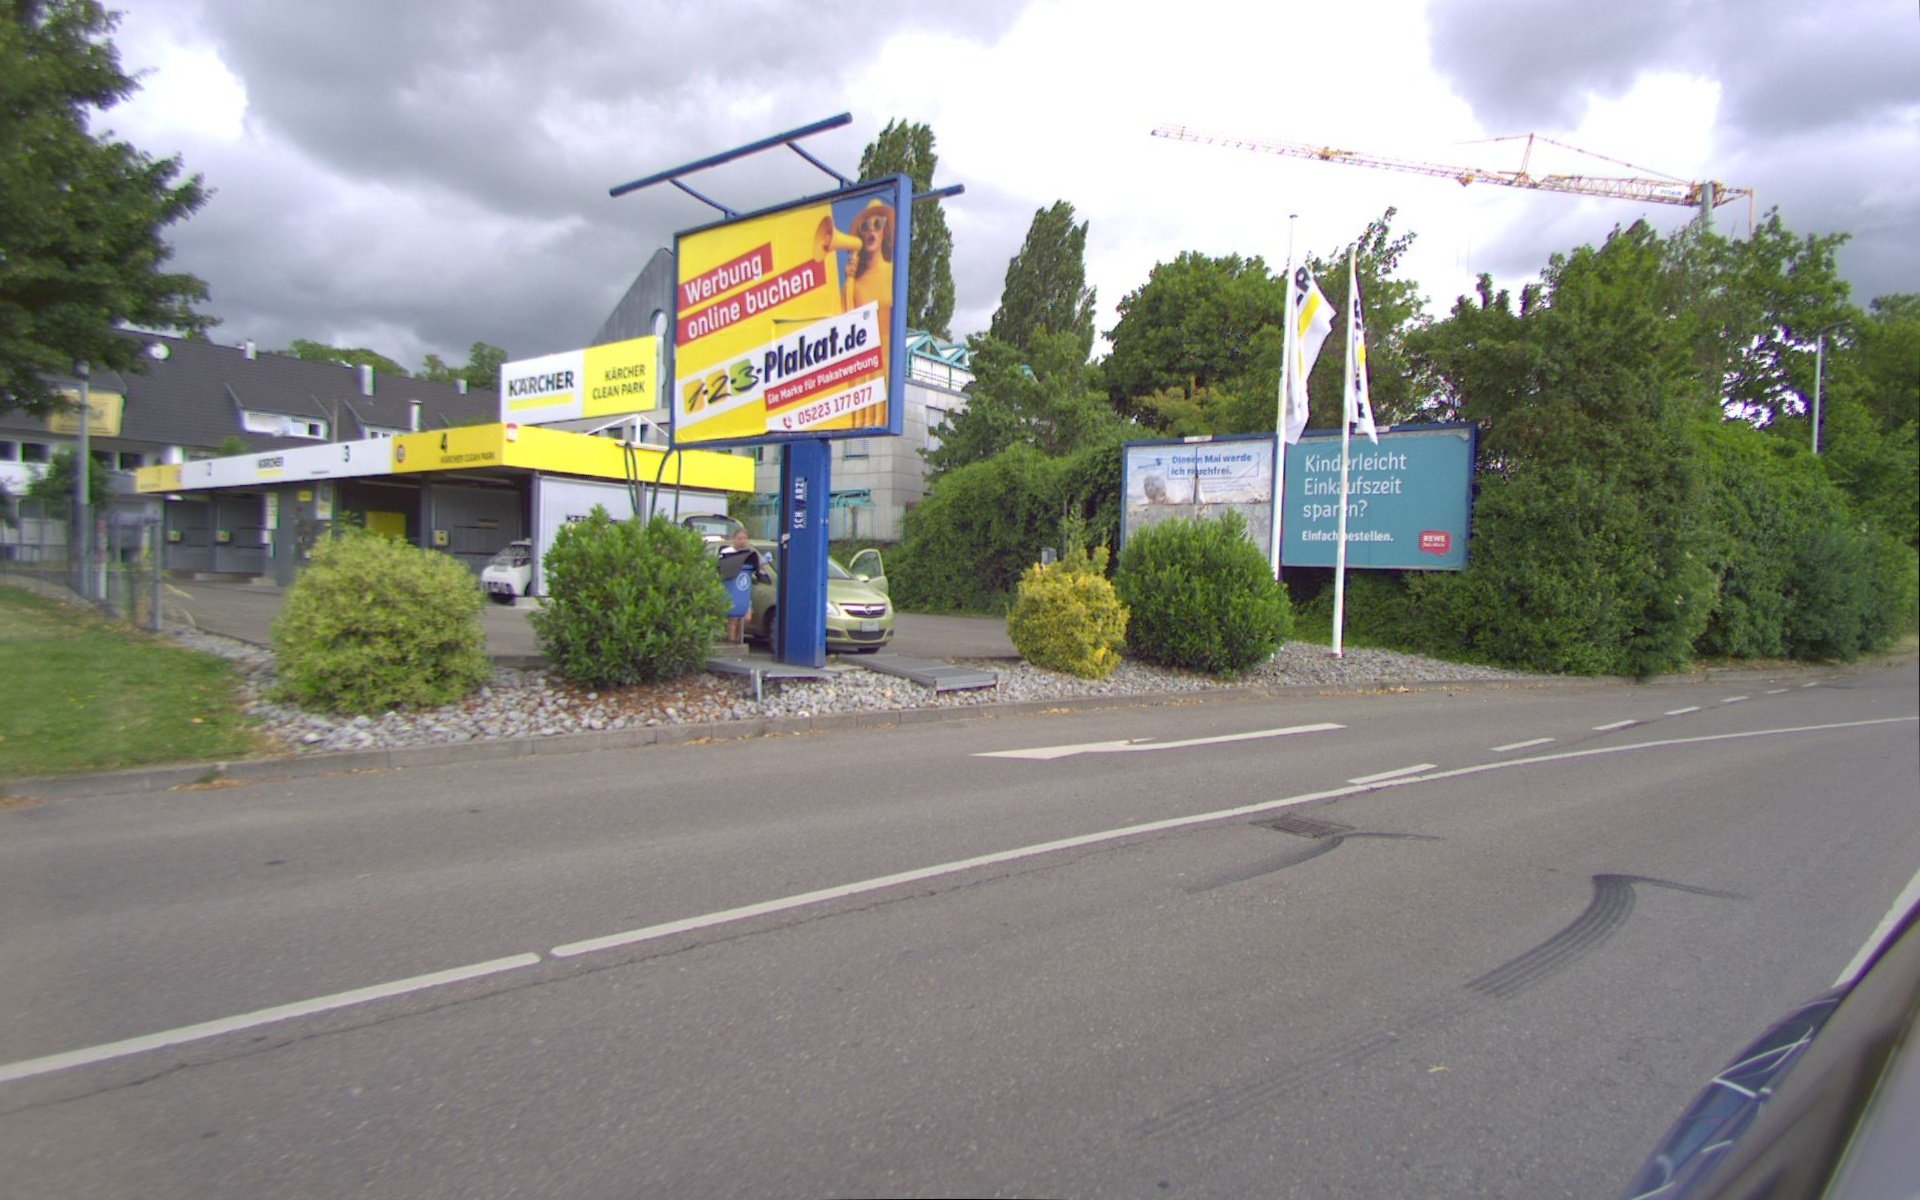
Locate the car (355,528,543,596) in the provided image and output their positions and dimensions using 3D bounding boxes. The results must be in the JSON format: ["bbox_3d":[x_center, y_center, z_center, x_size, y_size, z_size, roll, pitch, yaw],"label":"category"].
[{"bbox_3d":[-12.980,-0.934,25.892,1.828,1.593,3.880,3,2,36],"label":"car"}]

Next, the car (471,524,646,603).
[{"bbox_3d":[-9.220,-0.827,23.444,1.620,1.660,3.489,3,2,33],"label":"car"}]

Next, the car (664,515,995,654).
[{"bbox_3d":[-1.957,-0.275,14.637,4.019,1.676,2.898,4,2,45],"label":"car"}]

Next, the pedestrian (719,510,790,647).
[{"bbox_3d":[-2.620,-0.276,12.906,0.630,1.691,0.577,3,1,40],"label":"pedestrian"}]
